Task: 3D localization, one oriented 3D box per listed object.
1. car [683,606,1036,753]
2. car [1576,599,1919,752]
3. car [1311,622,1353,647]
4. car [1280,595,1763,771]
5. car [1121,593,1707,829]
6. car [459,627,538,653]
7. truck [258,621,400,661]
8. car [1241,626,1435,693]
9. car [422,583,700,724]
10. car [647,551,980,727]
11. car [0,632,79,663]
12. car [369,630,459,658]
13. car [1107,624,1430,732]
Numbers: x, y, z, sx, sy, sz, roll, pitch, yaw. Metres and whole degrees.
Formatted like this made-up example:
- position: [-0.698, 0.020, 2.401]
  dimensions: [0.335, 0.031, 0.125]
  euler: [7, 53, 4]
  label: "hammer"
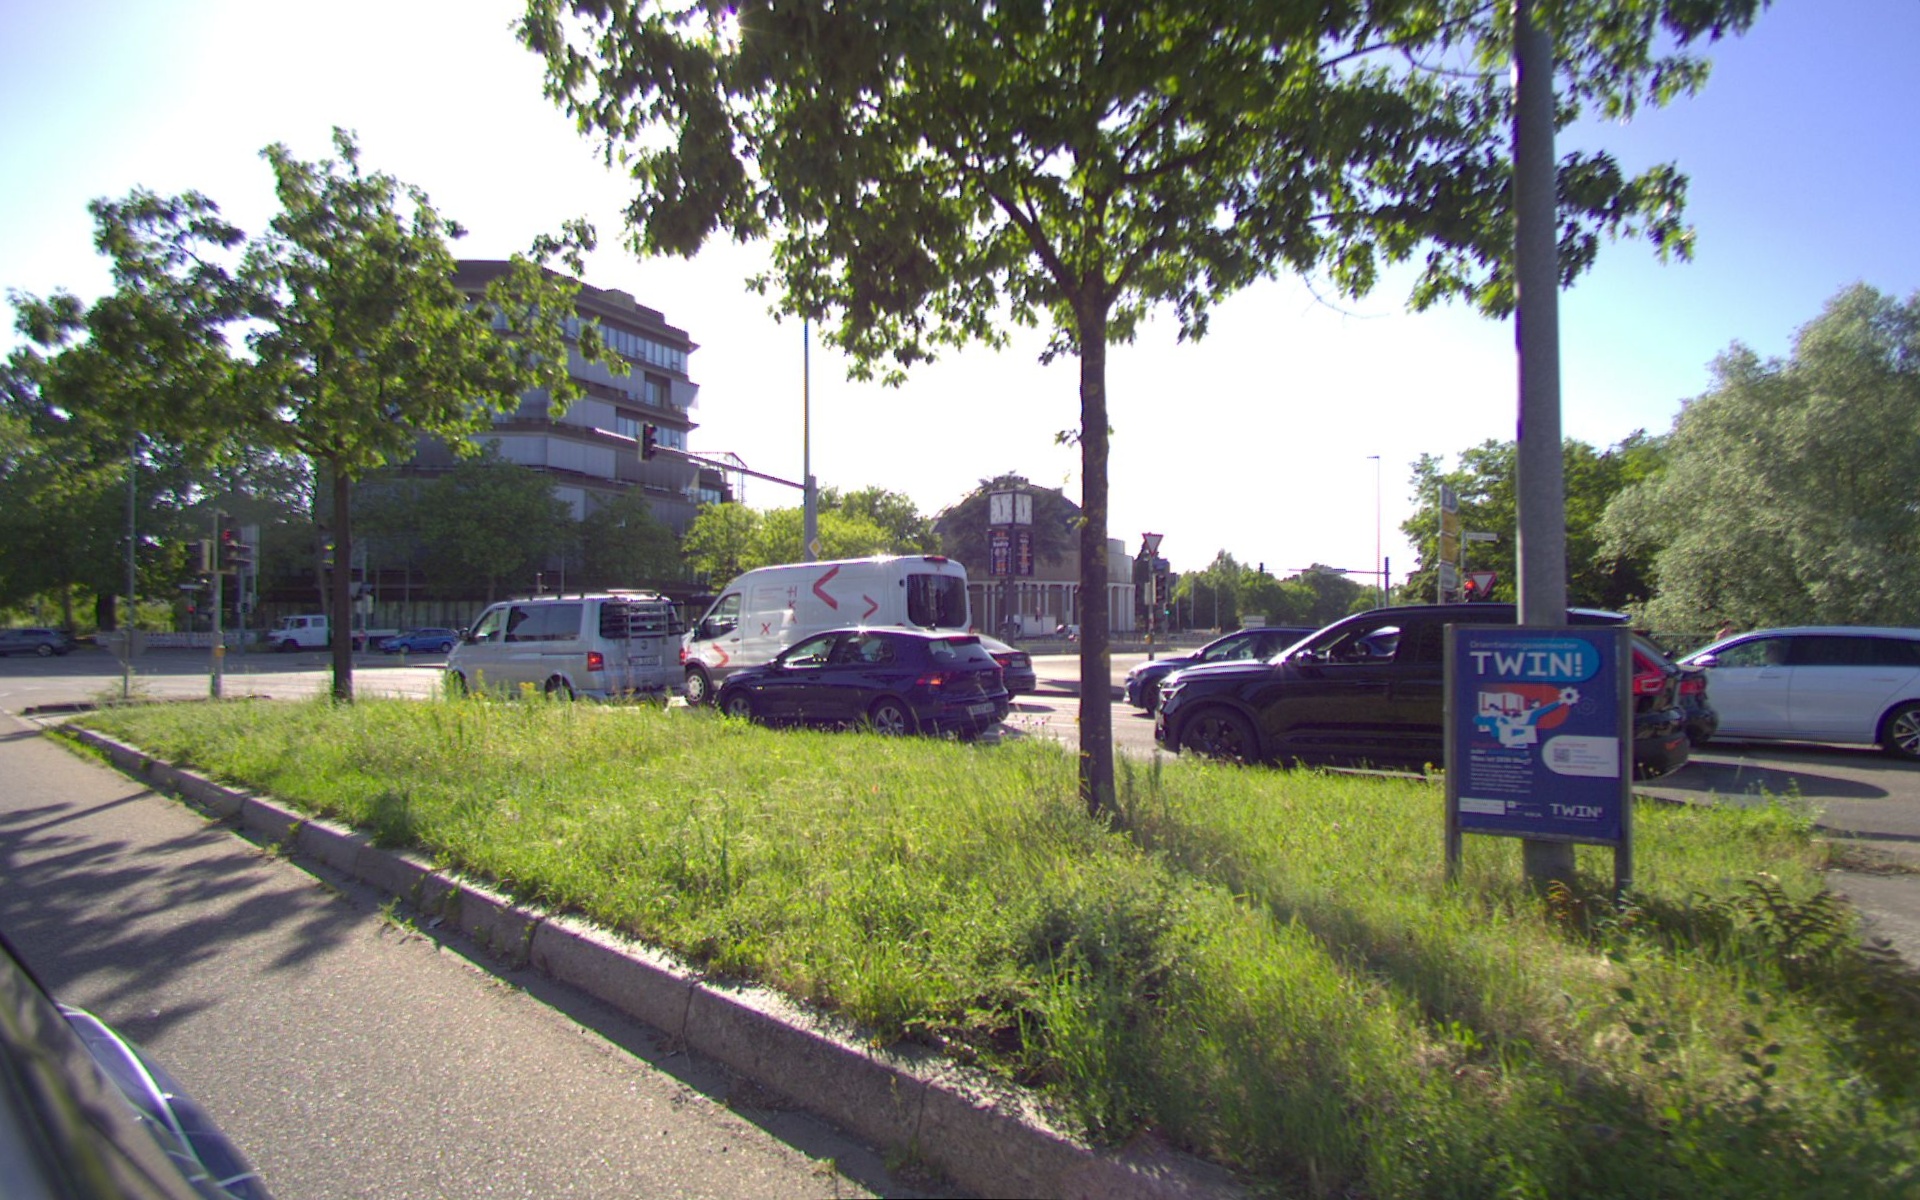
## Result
- position: [-1.417, 0.939, 13.346]
  dimensions: [4.495, 1.634, 1.920]
  euler: [-1, -2, 35]
  label: "car"
- position: [10.113, 0.834, 12.137]
  dimensions: [4.497, 1.634, 1.919]
  euler: [-1, -2, 37]
  label: "car"
- position: [26.895, 2.464, 73.113]
  dimensions: [1.876, 1.722, 4.147]
  euler: [-1, -1, 35]
  label: "car"
- position: [6.206, 0.830, 11.532]
  dimensions: [4.497, 1.634, 1.919]
  euler: [-1, -2, 37]
  label: "car"
- position: [3.918, 0.827, 9.143]
  dimensions: [4.497, 1.634, 1.919]
  euler: [-1, -2, 37]
  label: "car"
- position: [-29.965, 2.590, 65.808]
  dimensions: [1.944, 1.552, 4.411]
  euler: [-1, -1, 30]
  label: "car"
- position: [-40.173, 2.537, 64.661]
  dimensions: [2.164, 2.378, 7.408]
  euler: [-2, -2, 43]
  label: "truck"
- position: [9.427, 1.469, 25.563]
  dimensions: [1.755, 1.547, 4.339]
  euler: [3, -3, -36]
  label: "car"
- position: [-6.699, 0.826, 16.759]
  dimensions: [4.920, 2.023, 1.920]
  euler: [-1, -2, 35]
  label: "car"
- position: [-2.706, 0.647, 17.536]
  dimensions: [6.075, 2.596, 1.920]
  euler: [-1, -2, 35]
  label: "car"
- position: [-52.253, 2.653, 56.338]
  dimensions: [4.431, 1.657, 1.886]
  euler: [0, -1, -21]
  label: "car"
- position: [-32.798, 2.597, 60.927]
  dimensions: [1.944, 1.552, 4.411]
  euler: [-1, -1, 30]
  label: "car"
- position: [4.786, 1.133, 16.008]
  dimensions: [4.497, 1.476, 1.919]
  euler: [-1, -2, 37]
  label: "car"
